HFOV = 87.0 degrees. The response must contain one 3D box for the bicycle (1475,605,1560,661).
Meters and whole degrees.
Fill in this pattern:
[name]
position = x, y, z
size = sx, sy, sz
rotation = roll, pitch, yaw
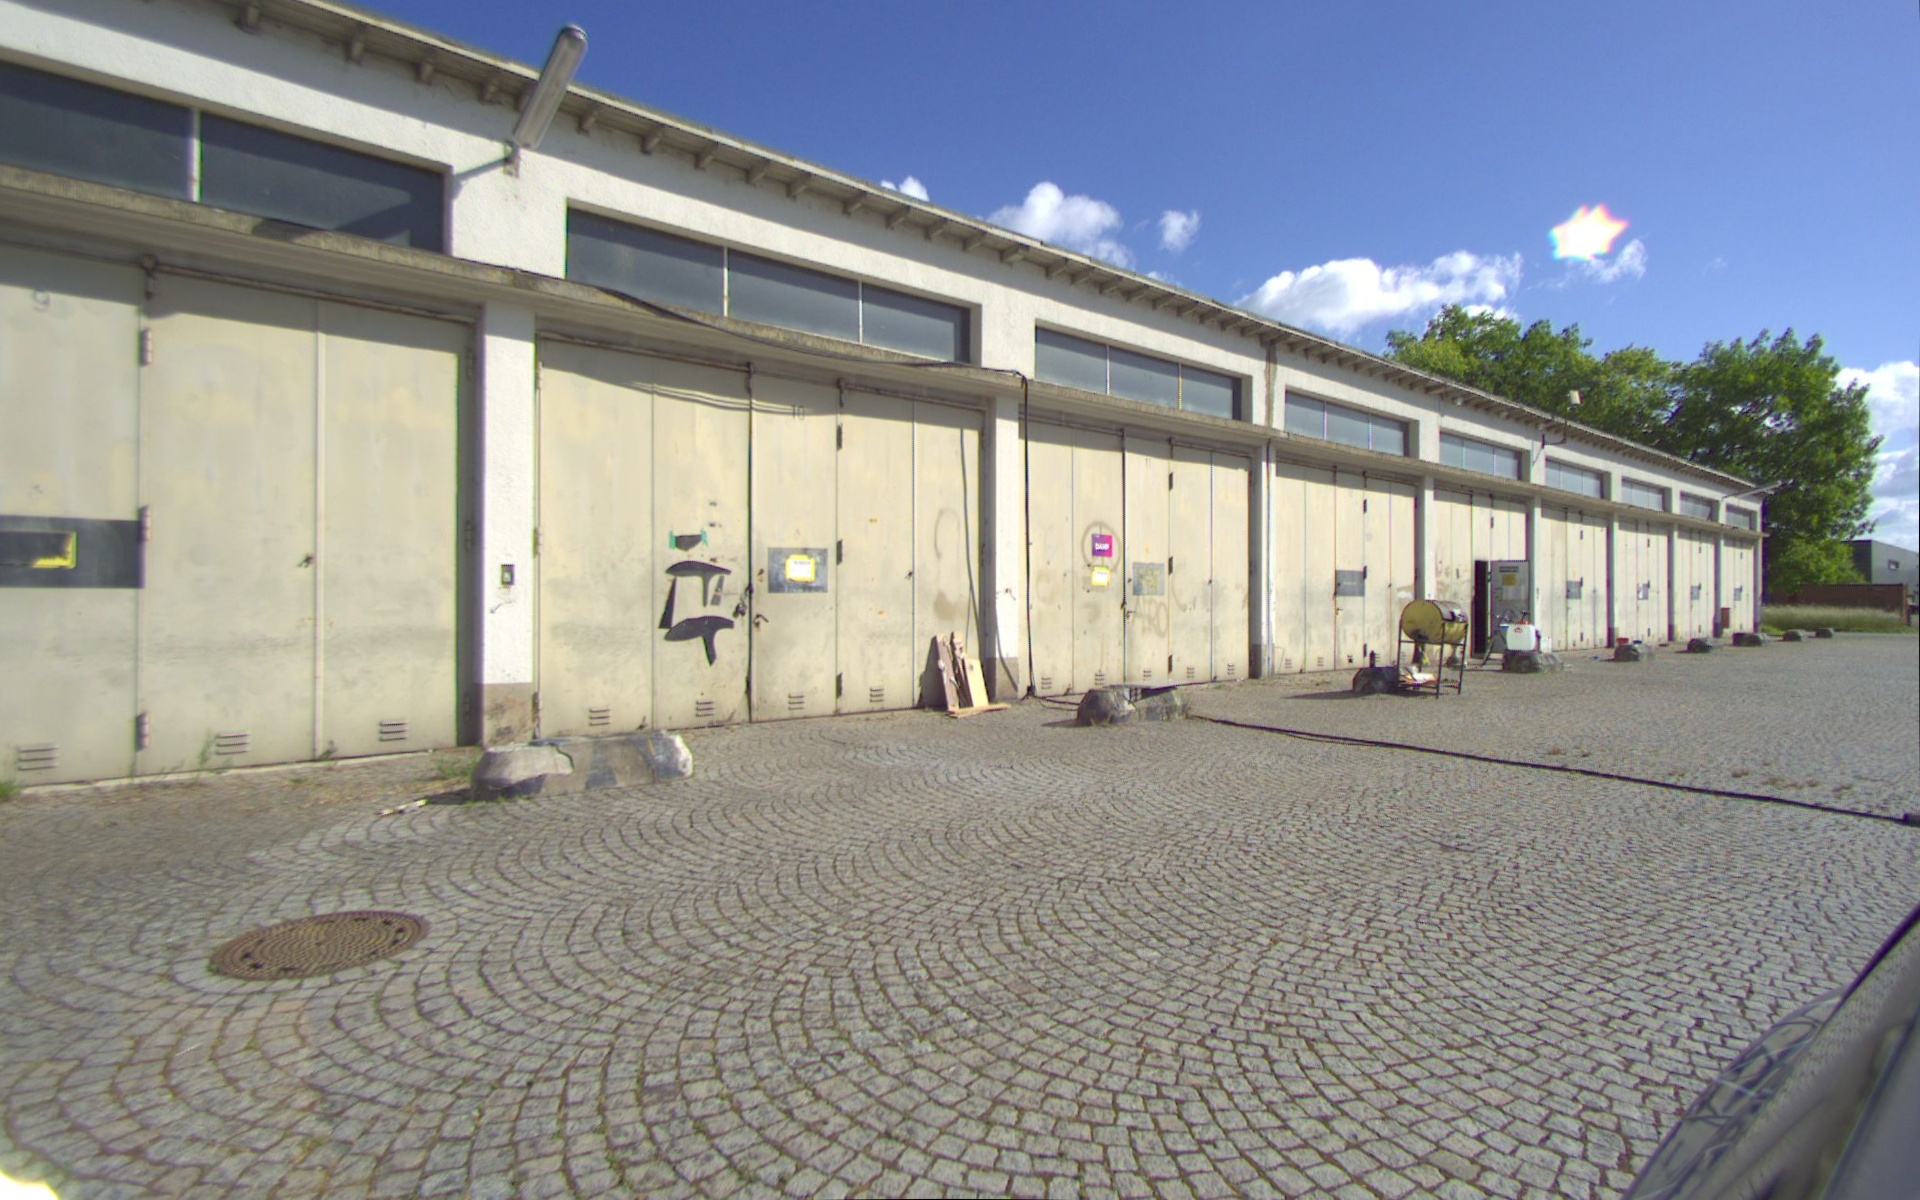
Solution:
[bicycle]
position = 11.546, 0.663, 20.930
size = 1.787, 1.081, 0.667
rotation = -1, -1, -29
